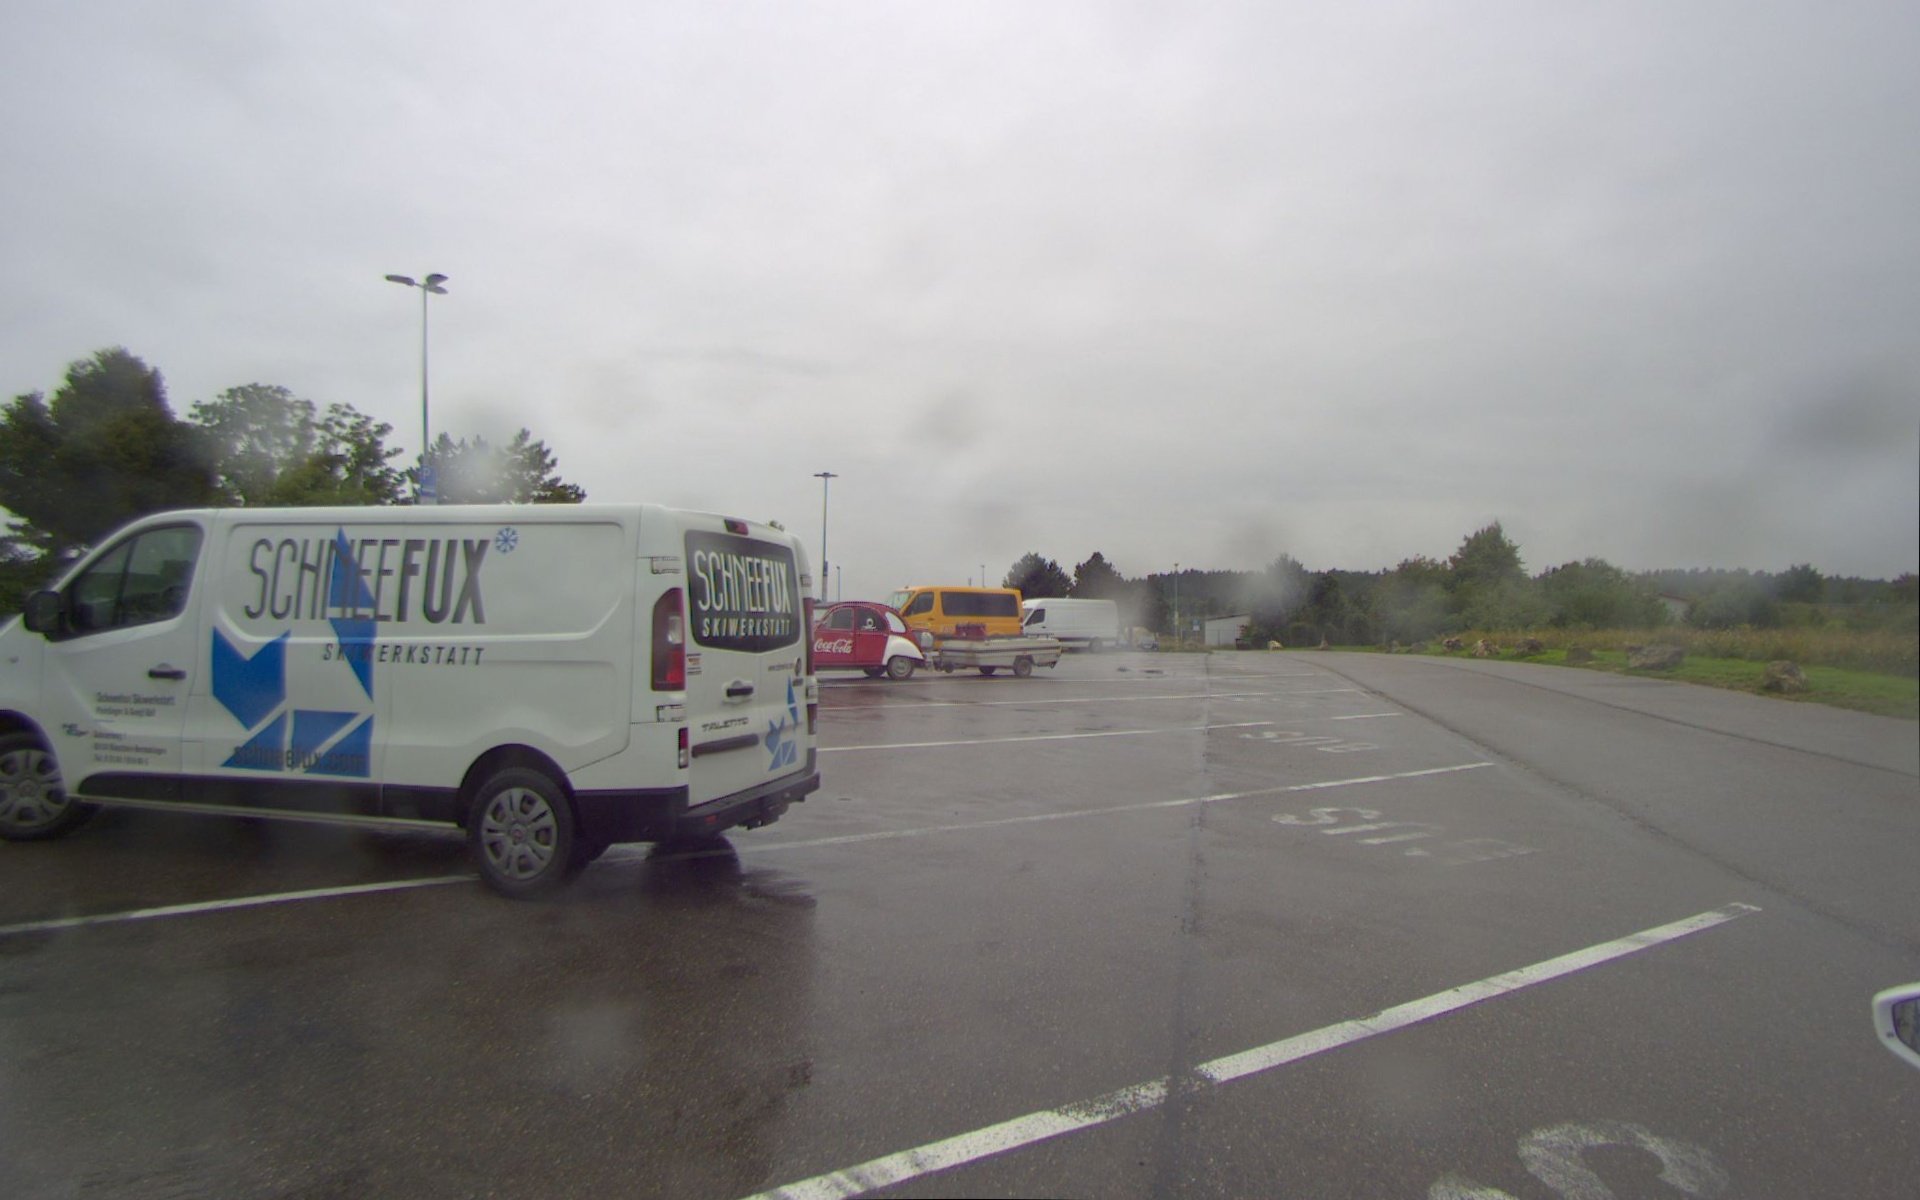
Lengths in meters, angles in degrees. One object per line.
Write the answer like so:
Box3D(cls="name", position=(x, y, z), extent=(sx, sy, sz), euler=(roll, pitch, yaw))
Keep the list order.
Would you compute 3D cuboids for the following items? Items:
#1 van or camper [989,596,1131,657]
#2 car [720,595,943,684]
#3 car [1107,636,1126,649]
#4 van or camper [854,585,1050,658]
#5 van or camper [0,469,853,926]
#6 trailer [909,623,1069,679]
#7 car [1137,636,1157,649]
Box3D(cls="van or camper", position=(4.937, 1.289, 48.910), extent=(6.986, 2.752, 1.983), euler=(1, 1, -31))
Box3D(cls="car", position=(-2.451, 0.735, 19.400), extent=(4.005, 1.576, 1.539), euler=(1, 0, -28))
Box3D(cls="car", position=(14.075, 3.768, 90.268), extent=(1.674, 1.014, 3.770), euler=(1, 0, 10))
Box3D(cls="van or camper", position=(-0.196, 0.715, 33.460), extent=(6.343, 2.276, 2.117), euler=(1, 0, -31))
Box3D(cls="van or camper", position=(-3.494, 0.349, 6.250), extent=(5.093, 1.971, 2.195), euler=(3, 0, 17))
Box3D(cls="trailer", position=(0.612, 1.064, 21.161), extent=(2.992, 1.081, 1.578), euler=(2, -1, -28))
Box3D(cls="car", position=(16.692, 3.803, 89.714), extent=(1.674, 1.014, 3.770), euler=(1, 0, 10))
